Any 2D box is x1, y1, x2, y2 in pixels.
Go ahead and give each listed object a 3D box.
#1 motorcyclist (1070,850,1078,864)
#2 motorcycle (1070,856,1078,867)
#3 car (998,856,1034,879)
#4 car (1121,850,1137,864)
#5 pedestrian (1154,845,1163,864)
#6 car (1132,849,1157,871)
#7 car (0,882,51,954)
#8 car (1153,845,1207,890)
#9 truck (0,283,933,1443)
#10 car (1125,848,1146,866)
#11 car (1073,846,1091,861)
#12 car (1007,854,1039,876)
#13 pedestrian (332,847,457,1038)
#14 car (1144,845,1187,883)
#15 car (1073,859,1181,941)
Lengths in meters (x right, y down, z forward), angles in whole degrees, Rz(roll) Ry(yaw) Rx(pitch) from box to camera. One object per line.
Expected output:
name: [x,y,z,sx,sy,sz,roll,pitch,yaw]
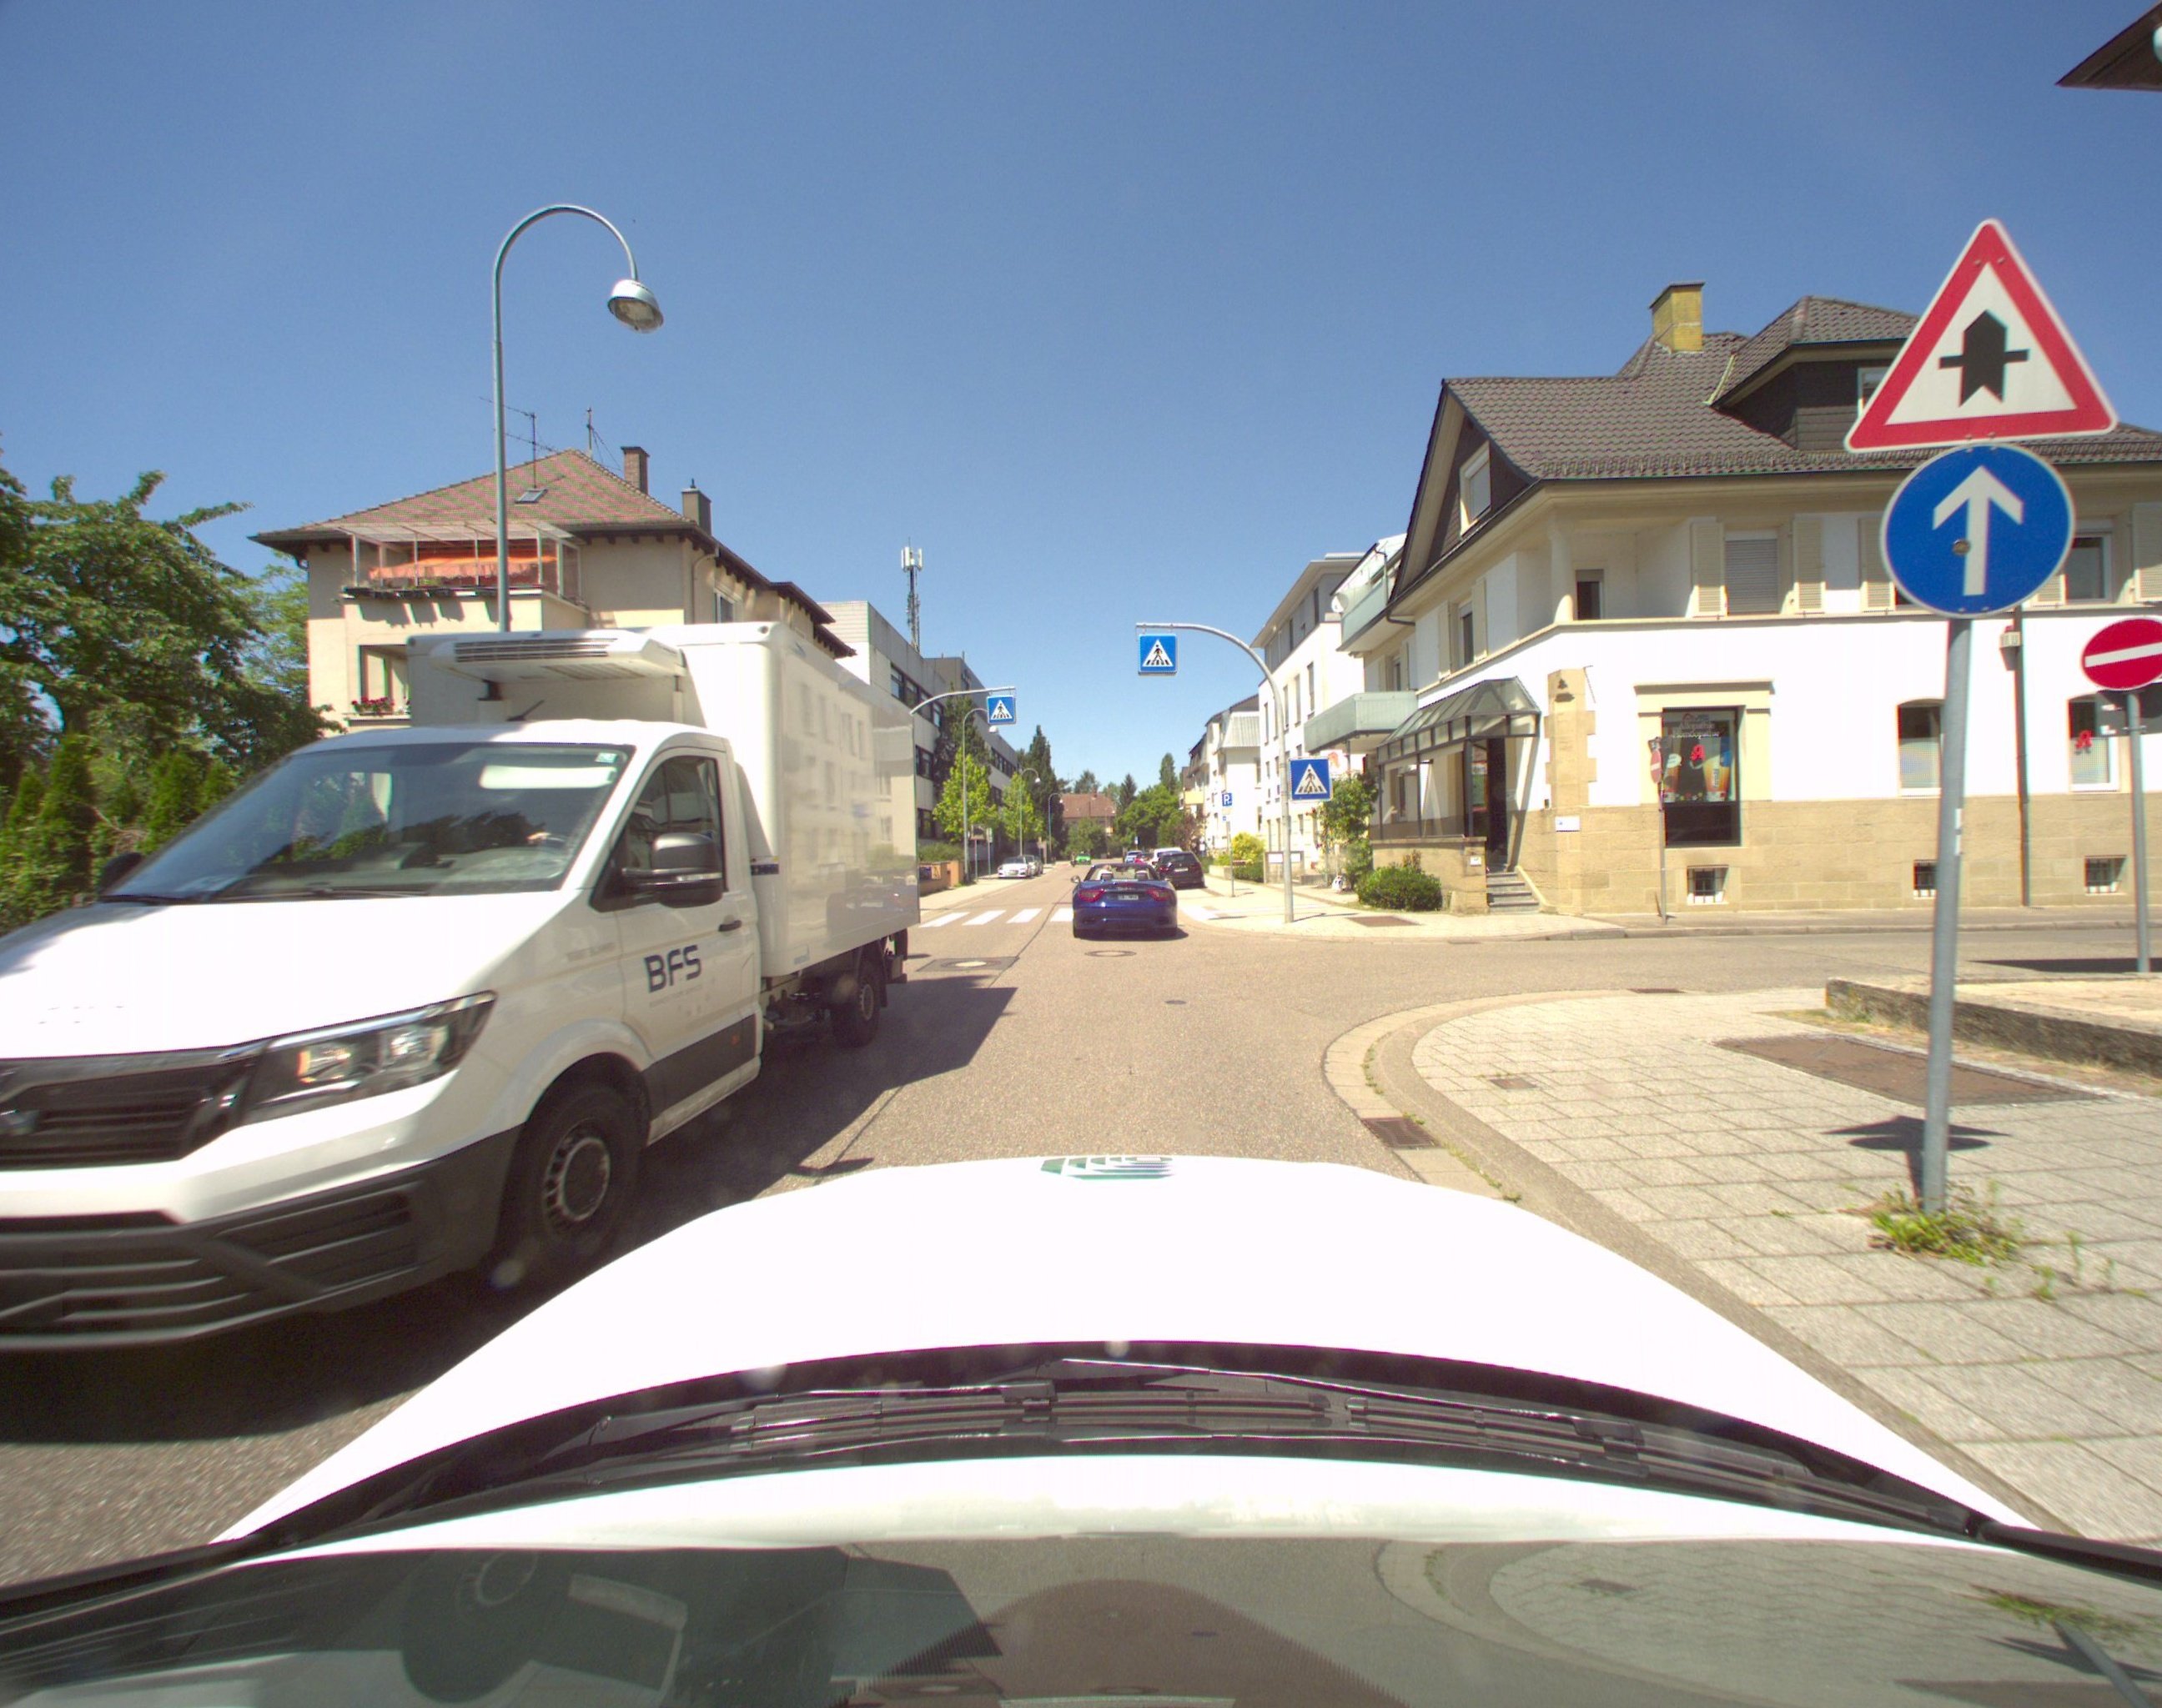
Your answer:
motorcyclist: [-0.751,0.288,85.864,0.696,1.433,0.707,-3,0,2]
motorcycle: [-0.736,0.749,85.908,0.696,1.107,1.791,-3,0,2]
car: [-4.184,0.832,53.300,1.815,1.411,4.579,0,0,2]
car: [5.431,0.349,92.166,1.625,1.446,4.399,-4,0,2]
pedestrian: [7.307,0.050,76.893,0.738,1.669,0.706,-4,0,0]
car: [4.685,0.433,60.571,1.597,1.440,3.856,-4,0,3]
car: [-22.458,1.310,15.336,1.705,1.420,3.418,-1,0,1]
car: [3.931,0.494,33.035,1.698,1.556,4.750,-4,0,2]
truck: [-2.877,0.041,5.257,2.411,2.983,6.260,-2,0,2]
car: [5.138,0.257,77.542,1.836,1.619,4.430,-3,0,2]
car: [0.089,-0.058,101.963,1.821,1.588,4.092,-1,4,-7]
car: [-4.120,0.751,58.634,1.815,1.512,4.291,-1,0,2]
pedestrian: [-6.362,0.788,7.576,0.534,1.685,0.708,-1,0,1]
car: [4.038,0.445,39.350,1.698,1.666,4.582,-3,0,2]
car: [0.854,0.799,16.181,1.820,1.337,4.702,-1,0,2]
